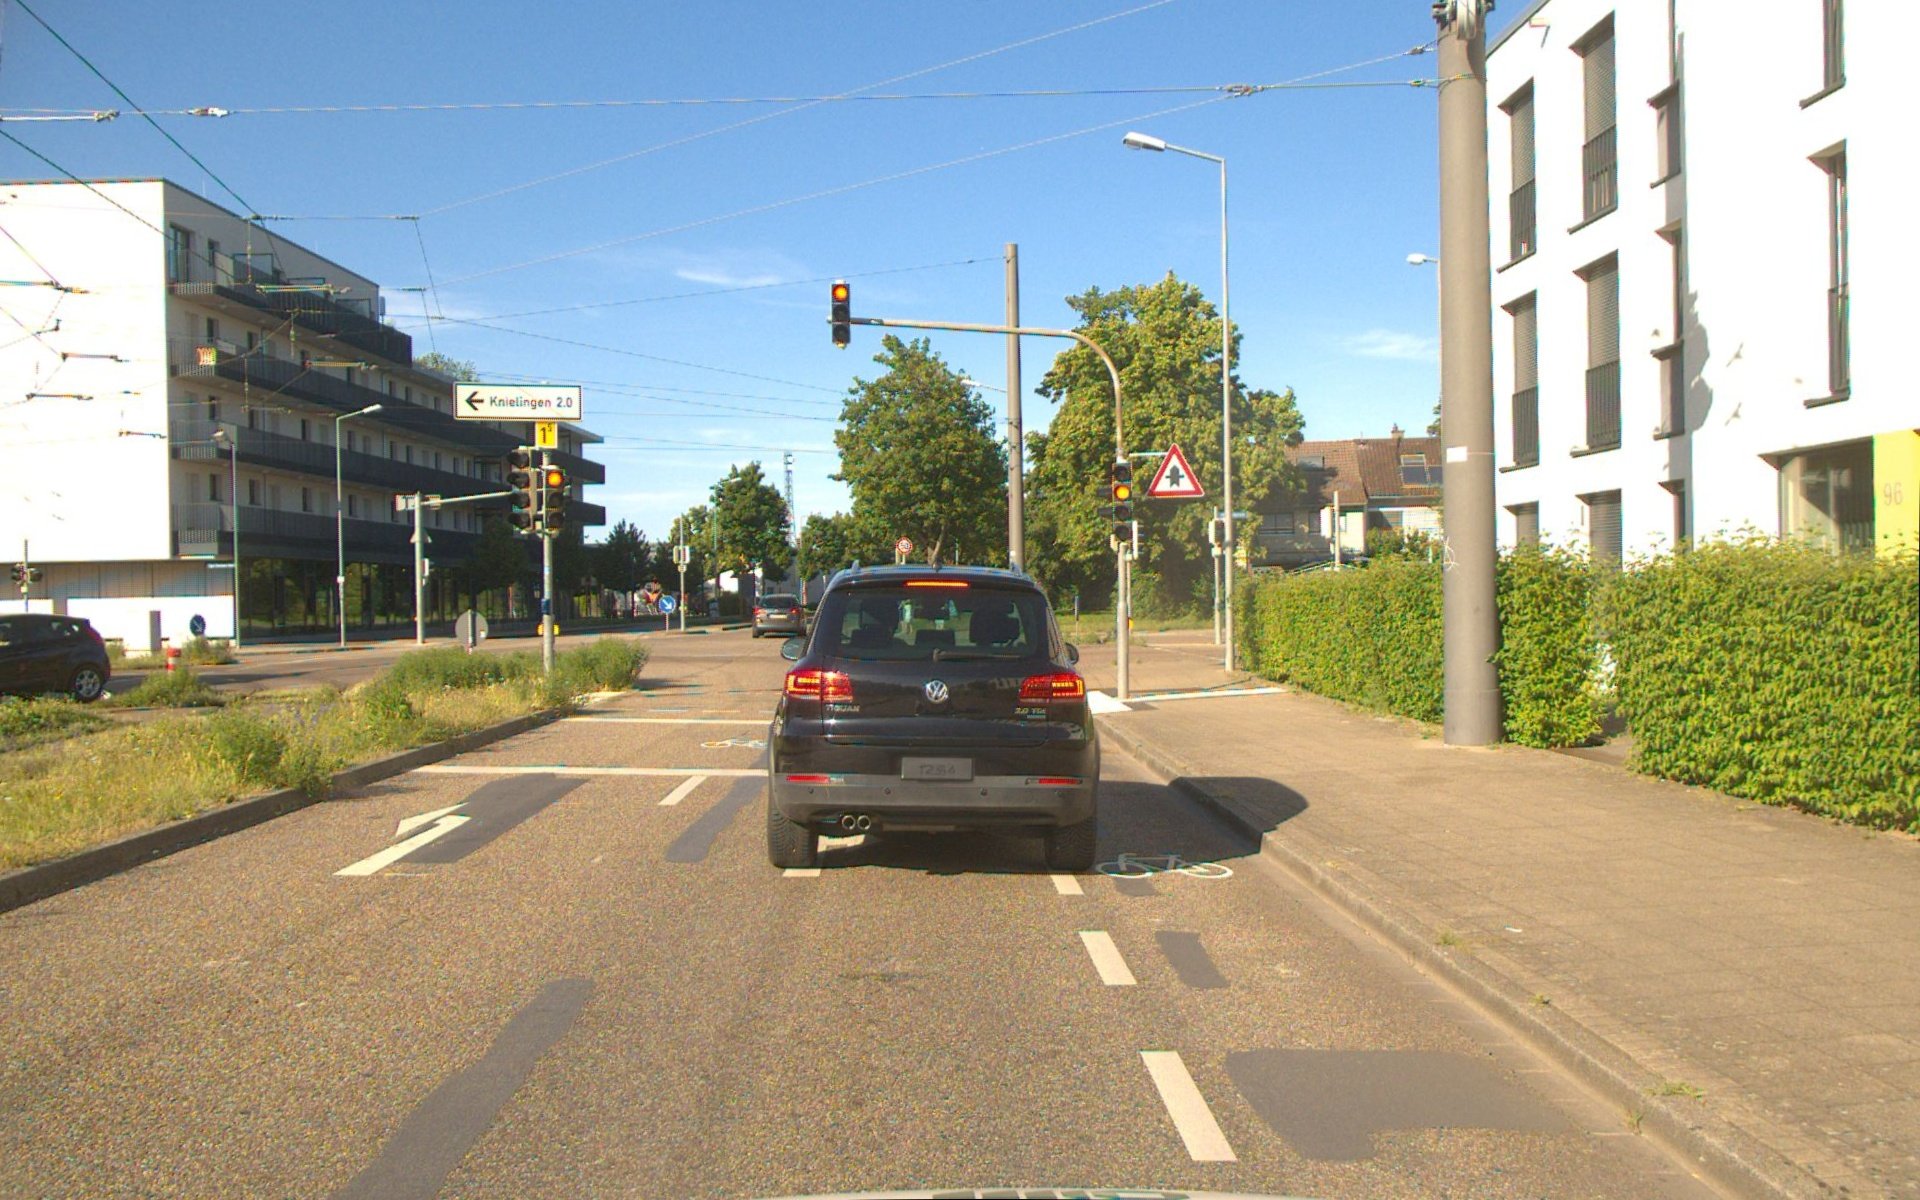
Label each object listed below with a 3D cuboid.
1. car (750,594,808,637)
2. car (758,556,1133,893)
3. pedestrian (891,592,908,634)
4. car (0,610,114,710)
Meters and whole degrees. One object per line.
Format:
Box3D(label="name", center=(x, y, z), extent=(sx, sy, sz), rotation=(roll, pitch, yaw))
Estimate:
Box3D(label="car", center=(-6.181, 0.513, 56.892), extent=(1.716, 1.411, 3.998), rotation=(0, 0, -2))
Box3D(label="car", center=(-0.145, 0.605, 10.255), extent=(1.867, 1.671, 3.998), rotation=(0, 0, -2))
Box3D(label="pedestrian", center=(-2.291, 0.482, 62.930), extent=(0.590, 1.592, 0.529), rotation=(0, 0, 3))
Box3D(label="car", center=(-15.592, 0.999, 26.064), extent=(1.670, 1.455, 3.737), rotation=(-3, 1, 26))
